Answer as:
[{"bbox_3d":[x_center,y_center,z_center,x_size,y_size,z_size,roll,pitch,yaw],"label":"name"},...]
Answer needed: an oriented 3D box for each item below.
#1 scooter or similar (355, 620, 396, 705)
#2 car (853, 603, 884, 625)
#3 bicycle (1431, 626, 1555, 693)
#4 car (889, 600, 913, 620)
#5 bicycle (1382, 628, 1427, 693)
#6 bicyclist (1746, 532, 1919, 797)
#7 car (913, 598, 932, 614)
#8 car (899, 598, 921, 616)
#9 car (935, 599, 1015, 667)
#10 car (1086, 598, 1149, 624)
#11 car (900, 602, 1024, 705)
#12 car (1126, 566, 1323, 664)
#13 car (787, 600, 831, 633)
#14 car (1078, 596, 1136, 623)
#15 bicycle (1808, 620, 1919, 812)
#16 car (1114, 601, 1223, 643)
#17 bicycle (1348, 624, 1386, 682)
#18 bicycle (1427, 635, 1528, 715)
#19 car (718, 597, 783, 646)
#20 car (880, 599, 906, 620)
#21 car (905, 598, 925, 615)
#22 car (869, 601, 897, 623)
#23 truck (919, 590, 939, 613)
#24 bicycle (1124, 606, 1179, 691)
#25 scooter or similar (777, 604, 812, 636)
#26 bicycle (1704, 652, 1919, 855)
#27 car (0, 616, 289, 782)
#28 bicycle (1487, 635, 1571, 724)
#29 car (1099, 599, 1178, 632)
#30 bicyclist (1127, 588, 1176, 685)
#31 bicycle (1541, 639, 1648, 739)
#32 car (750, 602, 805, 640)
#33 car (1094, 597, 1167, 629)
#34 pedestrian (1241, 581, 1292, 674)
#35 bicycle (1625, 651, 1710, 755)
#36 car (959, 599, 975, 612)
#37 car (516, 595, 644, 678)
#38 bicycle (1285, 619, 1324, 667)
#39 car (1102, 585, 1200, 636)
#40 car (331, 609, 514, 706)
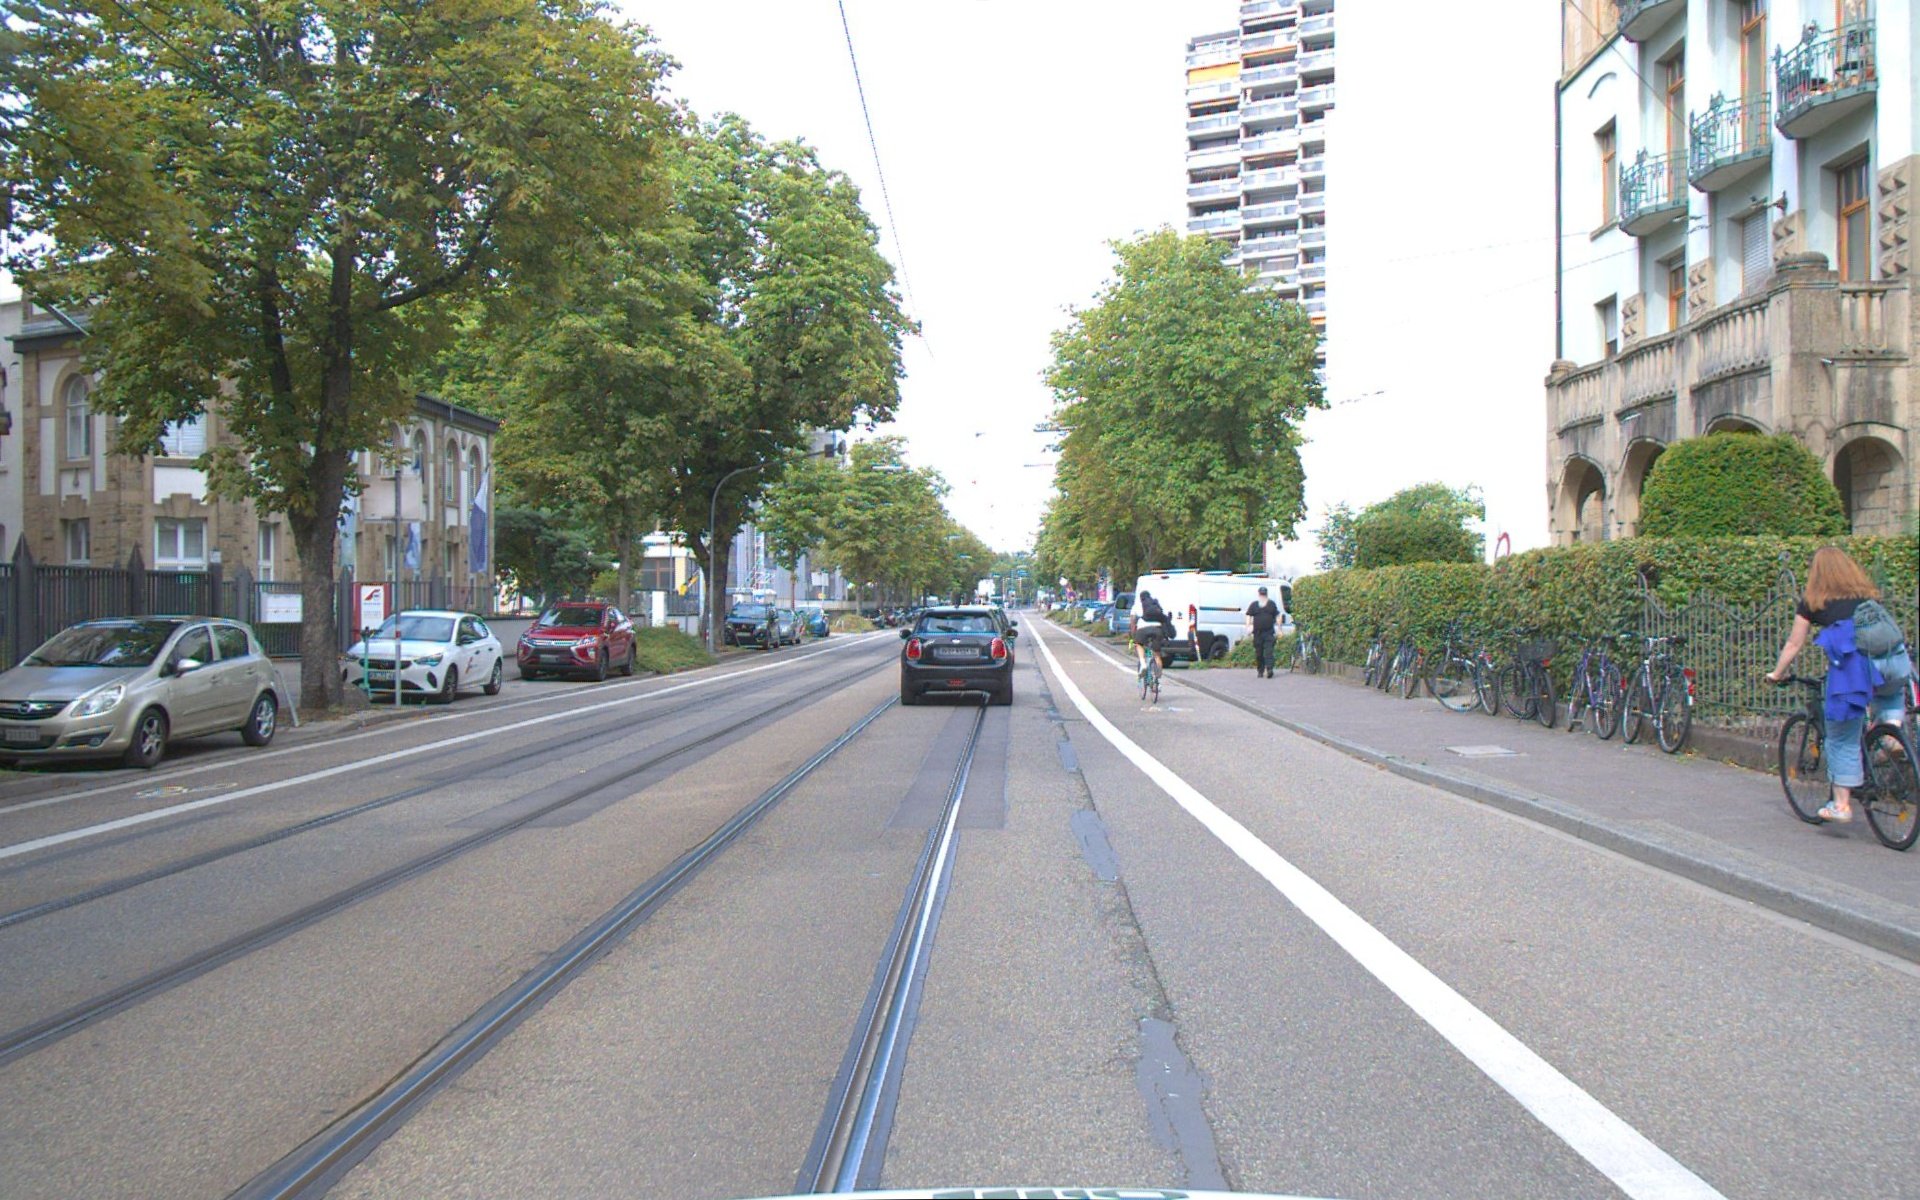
[{"bbox_3d":[-8.936,0.937,25.277,0.553,1.244,1.315,0,0,-21],"label":"scooter or similar"},{"bbox_3d":[-6.172,0.945,111.913,1.765,1.398,4.032,-1,0,1],"label":"car"},{"bbox_3d":[7.747,0.866,24.058,1.625,0.923,0.487,-1,-1,0],"label":"bicycle"},{"bbox_3d":[-5.075,0.833,142.072,1.765,1.611,4.032,-1,0,1],"label":"car"},{"bbox_3d":[6.683,0.892,24.921,0.378,0.923,1.666,-1,-1,6],"label":"bicycle"},{"bbox_3d":[5.252,0.367,9.919,0.634,1.495,0.800,-3,0,-1],"label":"bicyclist"},{"bbox_3d":[-3.902,0.608,172.662,1.765,1.611,4.032,-1,0,1],"label":"car"},{"bbox_3d":[-4.626,0.675,152.303,1.765,1.611,4.032,-1,0,1],"label":"car"},{"bbox_3d":[0.316,0.757,39.594,1.757,1.496,3.999,2,0,-1],"label":"car"},{"bbox_3d":[9.127,0.620,95.548,3.498,1.468,1.602,0,0,-37],"label":"car"},{"bbox_3d":[0.012,0.760,25.587,1.757,1.448,3.999,1,0,-1],"label":"car"},{"bbox_3d":[6.717,0.375,41.694,4.915,2.330,2.349,0,0,-42],"label":"car"},{"bbox_3d":[-7.087,0.759,78.119,1.658,1.513,3.678,1,0,1],"label":"car"},{"bbox_3d":[9.057,0.560,101.655,3.411,1.600,1.539,0,0,-37],"label":"car"},{"bbox_3d":[6.194,0.736,10.768,0.383,1.162,1.921,-2,0,2],"label":"bicycle"},{"bbox_3d":[7.457,0.770,59.007,3.940,1.458,1.664,0,0,-41],"label":"car"},{"bbox_3d":[6.854,0.882,27.908,0.378,0.923,1.666,-1,-1,6],"label":"bicycle"},{"bbox_3d":[6.392,0.909,20.495,0.477,0.923,1.661,-1,-1,-9],"label":"bicycle"},{"bbox_3d":[-7.498,0.751,59.395,1.719,1.676,4.053,1,0,1],"label":"car"},{"bbox_3d":[-5.335,0.768,131.339,1.765,1.611,4.032,-1,0,1],"label":"car"},{"bbox_3d":[-4.372,0.648,161.261,1.765,1.611,4.032,-1,0,1],"label":"car"},{"bbox_3d":[-5.667,0.878,122.471,1.765,1.611,4.032,-1,0,1],"label":"car"},{"bbox_3d":[-3.469,0.133,185.755,2.028,2.513,4.899,-1,0,1],"label":"truck"},{"bbox_3d":[3.029,0.749,26.273,0.644,1.271,2.125,1,0,1],"label":"bicycle"},{"bbox_3d":[-7.405,0.882,73.912,1.413,1.367,0.700,-2,0,3],"label":"scooter or similar"},{"bbox_3d":[5.272,0.856,9.895,0.674,0.979,2.036,-3,0,-1],"label":"bicycle"},{"bbox_3d":[-8.757,0.941,17.503,1.567,1.494,4.080,0,0,1],"label":"car"},{"bbox_3d":[6.374,0.869,18.582,0.475,0.923,1.666,-1,-1,5],"label":"bicycle"},{"bbox_3d":[8.126,0.695,75.166,1.613,1.485,3.802,0,0,44],"label":"car"},{"bbox_3d":[3.020,0.566,26.143,0.644,1.489,1.178,1,0,0],"label":"bicyclist"},{"bbox_3d":[6.414,0.881,16.794,0.475,0.923,1.665,-1,-1,2],"label":"bicycle"},{"bbox_3d":[-7.284,0.837,66.275,1.658,1.452,3.869,1,0,1],"label":"car"},{"bbox_3d":[8.491,0.639,82.016,3.710,1.549,1.614,0,0,-44],"label":"car"},{"bbox_3d":[5.983,0.530,32.353,0.769,1.763,0.896,-3,0,1],"label":"pedestrian"},{"bbox_3d":[6.394,0.915,14.982,0.272,0.867,1.198,-1,-1,2],"label":"bicycle"},{"bbox_3d":[0.886,0.614,196.200,1.797,1.473,4.554,0,0,1],"label":"car"},{"bbox_3d":[-8.359,0.759,36.796,1.686,1.684,4.543,2,0,1],"label":"car"},{"bbox_3d":[6.894,0.858,33.179,0.378,0.923,1.842,-1,-1,0],"label":"bicycle"},{"bbox_3d":[7.967,0.437,68.789,4.242,2.050,1.802,0,-1,-44],"label":"car"},{"bbox_3d":[-9.008,0.918,28.056,1.686,1.448,4.024,2,0,1],"label":"car"}]
